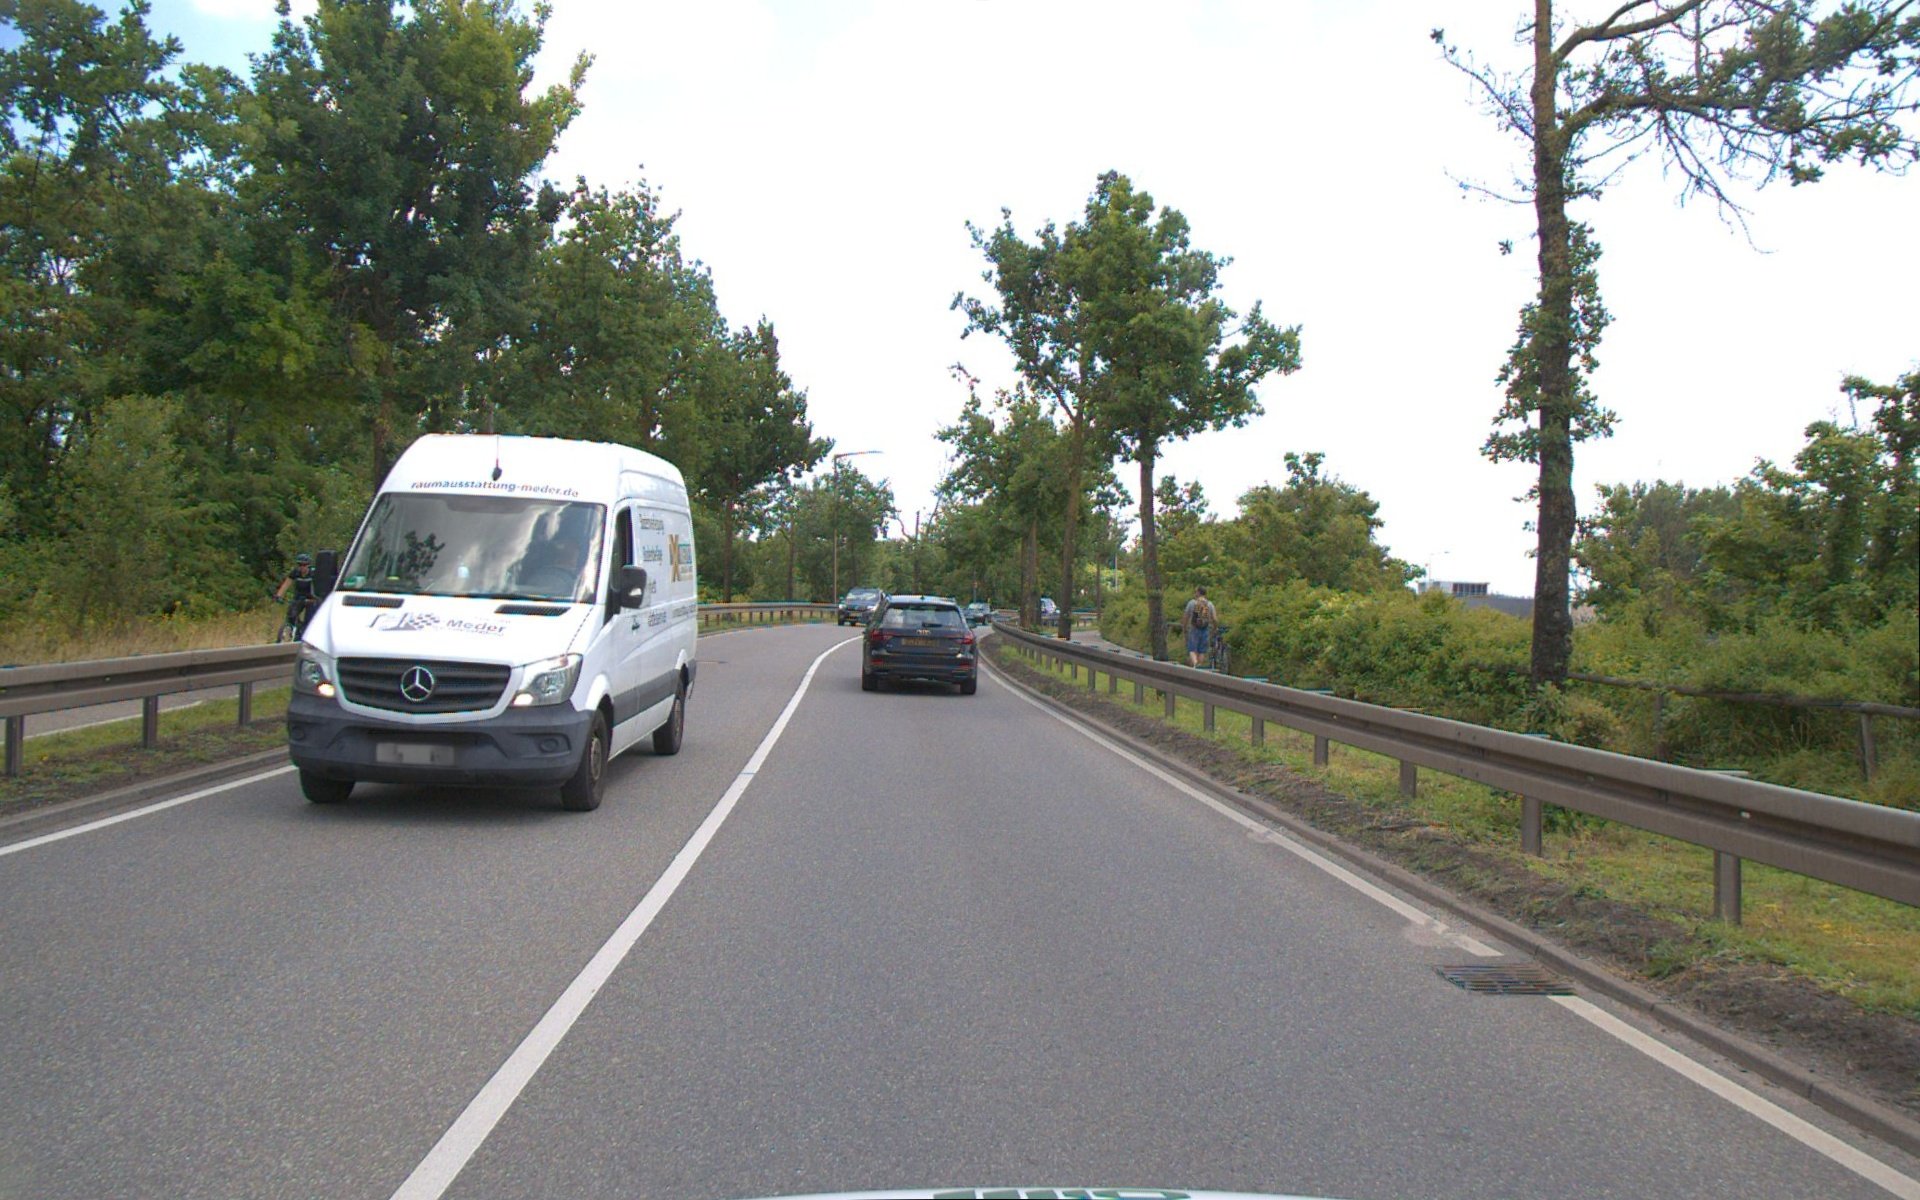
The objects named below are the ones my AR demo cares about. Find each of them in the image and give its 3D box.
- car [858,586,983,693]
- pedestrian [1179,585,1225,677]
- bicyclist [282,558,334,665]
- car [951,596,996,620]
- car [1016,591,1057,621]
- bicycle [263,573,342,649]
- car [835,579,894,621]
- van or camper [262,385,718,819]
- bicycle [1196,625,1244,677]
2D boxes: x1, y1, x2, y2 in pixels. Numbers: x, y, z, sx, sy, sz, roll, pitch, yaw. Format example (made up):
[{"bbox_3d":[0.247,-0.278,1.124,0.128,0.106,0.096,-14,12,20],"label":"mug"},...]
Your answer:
[{"bbox_3d":[-0.609,0.558,26.248,1.791,1.518,4.206,1,0,-1],"label":"car"},{"bbox_3d":[4.486,0.562,30.711,0.644,1.671,1.054,0,0,-3],"label":"pedestrian"},{"bbox_3d":[-9.810,0.164,24.908,0.475,1.580,0.880,0,0,-3],"label":"bicyclist"},{"bbox_3d":[0.758,0.432,91.245,1.559,1.239,3.793,2,0,15],"label":"car"},{"bbox_3d":[4.228,0.304,90.797,1.545,1.546,4.003,1,0,12],"label":"car"},{"bbox_3d":[-9.803,0.156,24.700,0.545,1.082,1.753,1,0,-3],"label":"bicycle"},{"bbox_3d":[-3.904,-0.005,68.174,1.743,1.635,4.161,3,0,5],"label":"car"},{"bbox_3d":[-3.333,-0.007,13.187,1.953,2.627,5.980,1,0,-1],"label":"van or camper"},{"bbox_3d":[4.817,0.934,30.742,0.545,0.884,1.825,0,0,-2],"label":"bicycle"}]
